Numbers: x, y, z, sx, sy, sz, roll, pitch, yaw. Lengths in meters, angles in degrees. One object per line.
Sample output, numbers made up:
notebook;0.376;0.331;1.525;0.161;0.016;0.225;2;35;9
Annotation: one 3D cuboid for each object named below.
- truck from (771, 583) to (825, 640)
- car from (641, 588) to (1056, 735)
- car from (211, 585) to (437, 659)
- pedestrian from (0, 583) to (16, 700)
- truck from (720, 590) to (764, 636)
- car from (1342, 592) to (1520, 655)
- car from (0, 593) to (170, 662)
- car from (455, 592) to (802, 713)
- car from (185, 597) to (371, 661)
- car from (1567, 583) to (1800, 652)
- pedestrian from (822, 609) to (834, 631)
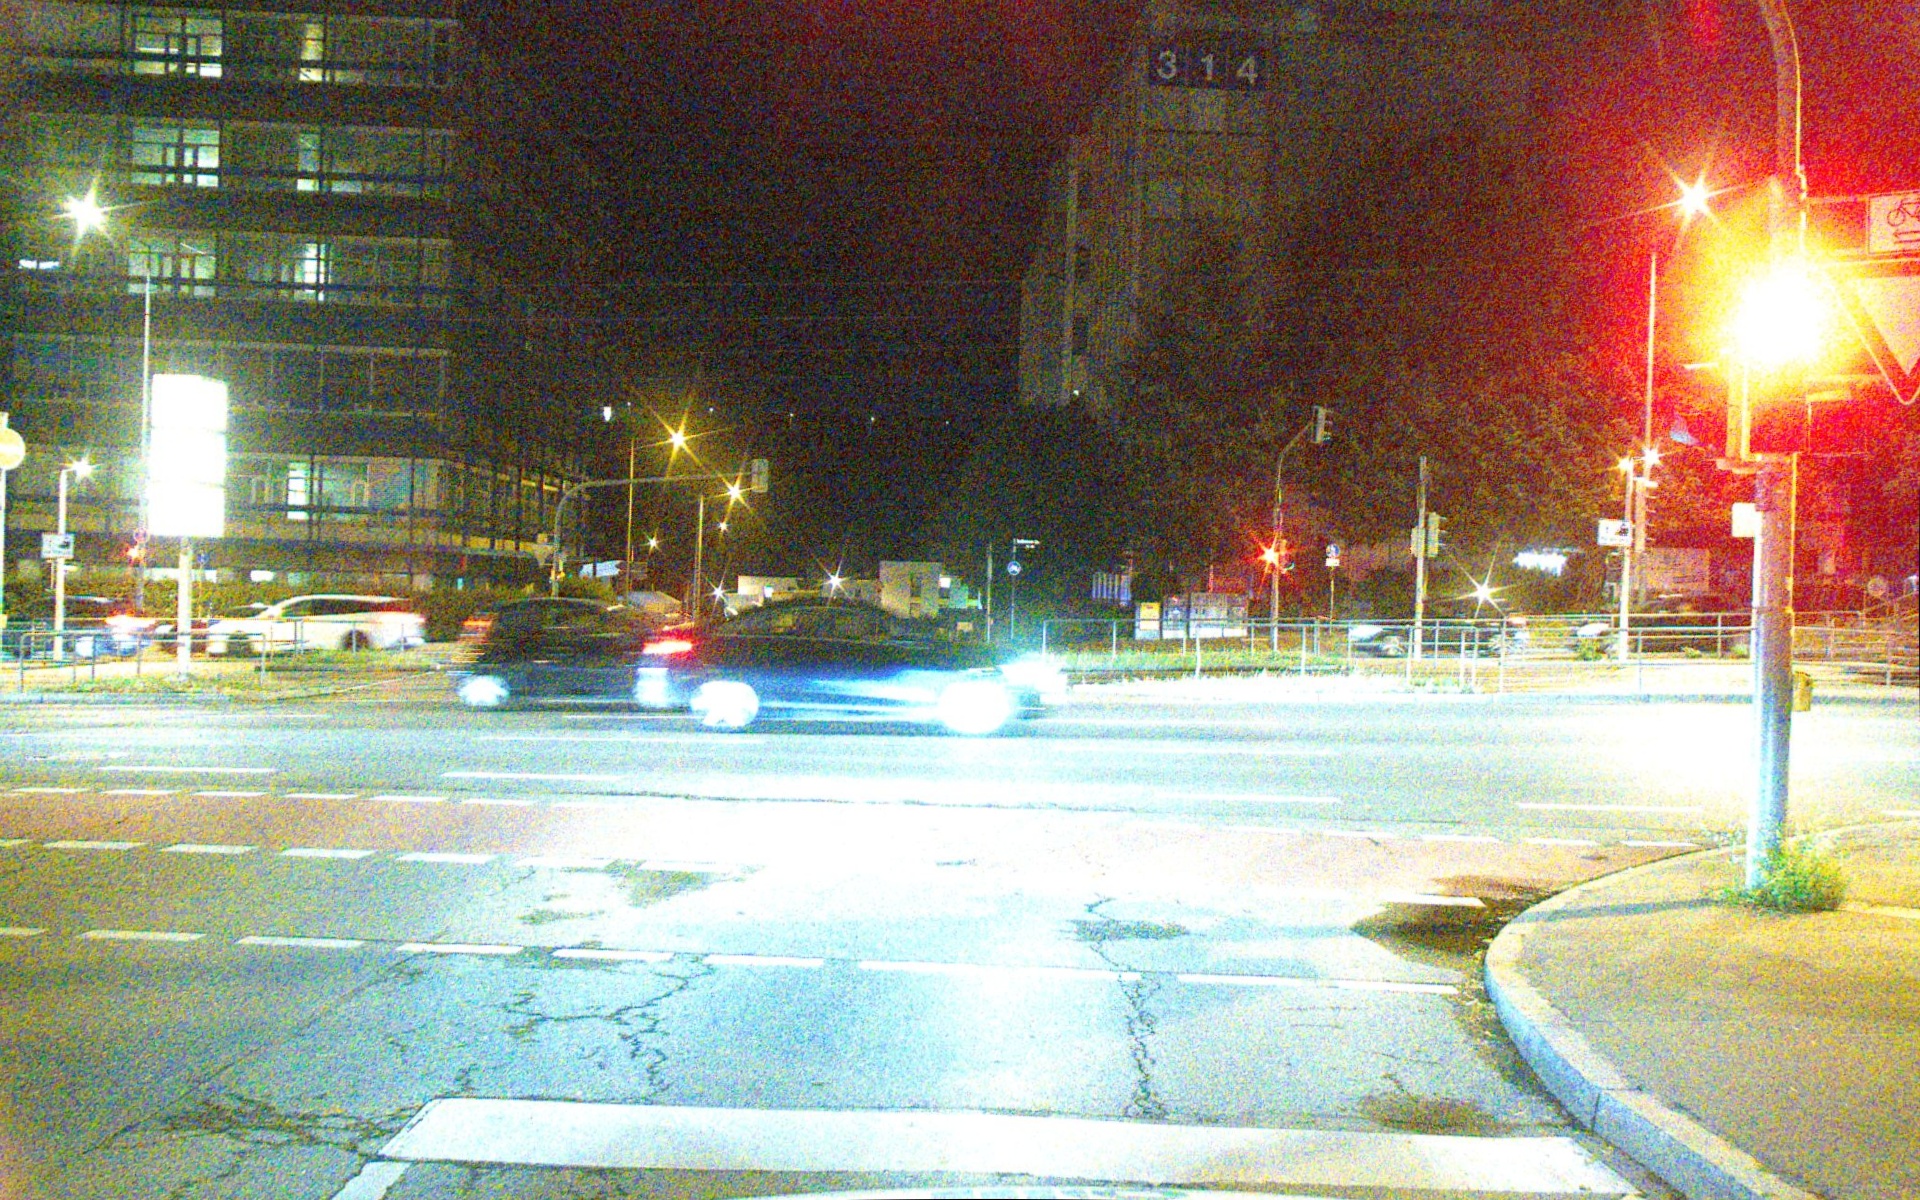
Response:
truck;-14.610;1.032;148.617;3.307;4.927;7.868;2;-1;-17
car;-1.172;0.662;18.777;4.476;1.444;1.746;-1;3;2
car;-14.614;0.487;38.171;4.476;1.612;1.847;0;1;1
pedestrian;-14.799;0.617;24.905;0.663;1.752;0.706;1;-1;25
truck;-15.713;0.931;119.182;2.377;3.143;6.414;2;-1;-14
car;11.223;0.561;39.618;3.790;1.429;1.769;-1;0;3
car;-22.427;0.674;41.683;4.145;1.613;1.804;1;-1;3
car;-4.320;0.660;21.907;4.159;1.444;1.746;0;2;7
car;-18.283;0.781;44.464;4.146;1.613;1.887;1;-1;1
car;15.927;0.384;36.580;4.334;1.445;1.851;-1;0;3
pedestrian;-11.742;1.820;147.379;0.836;1.945;1.001;2;-1;-18
